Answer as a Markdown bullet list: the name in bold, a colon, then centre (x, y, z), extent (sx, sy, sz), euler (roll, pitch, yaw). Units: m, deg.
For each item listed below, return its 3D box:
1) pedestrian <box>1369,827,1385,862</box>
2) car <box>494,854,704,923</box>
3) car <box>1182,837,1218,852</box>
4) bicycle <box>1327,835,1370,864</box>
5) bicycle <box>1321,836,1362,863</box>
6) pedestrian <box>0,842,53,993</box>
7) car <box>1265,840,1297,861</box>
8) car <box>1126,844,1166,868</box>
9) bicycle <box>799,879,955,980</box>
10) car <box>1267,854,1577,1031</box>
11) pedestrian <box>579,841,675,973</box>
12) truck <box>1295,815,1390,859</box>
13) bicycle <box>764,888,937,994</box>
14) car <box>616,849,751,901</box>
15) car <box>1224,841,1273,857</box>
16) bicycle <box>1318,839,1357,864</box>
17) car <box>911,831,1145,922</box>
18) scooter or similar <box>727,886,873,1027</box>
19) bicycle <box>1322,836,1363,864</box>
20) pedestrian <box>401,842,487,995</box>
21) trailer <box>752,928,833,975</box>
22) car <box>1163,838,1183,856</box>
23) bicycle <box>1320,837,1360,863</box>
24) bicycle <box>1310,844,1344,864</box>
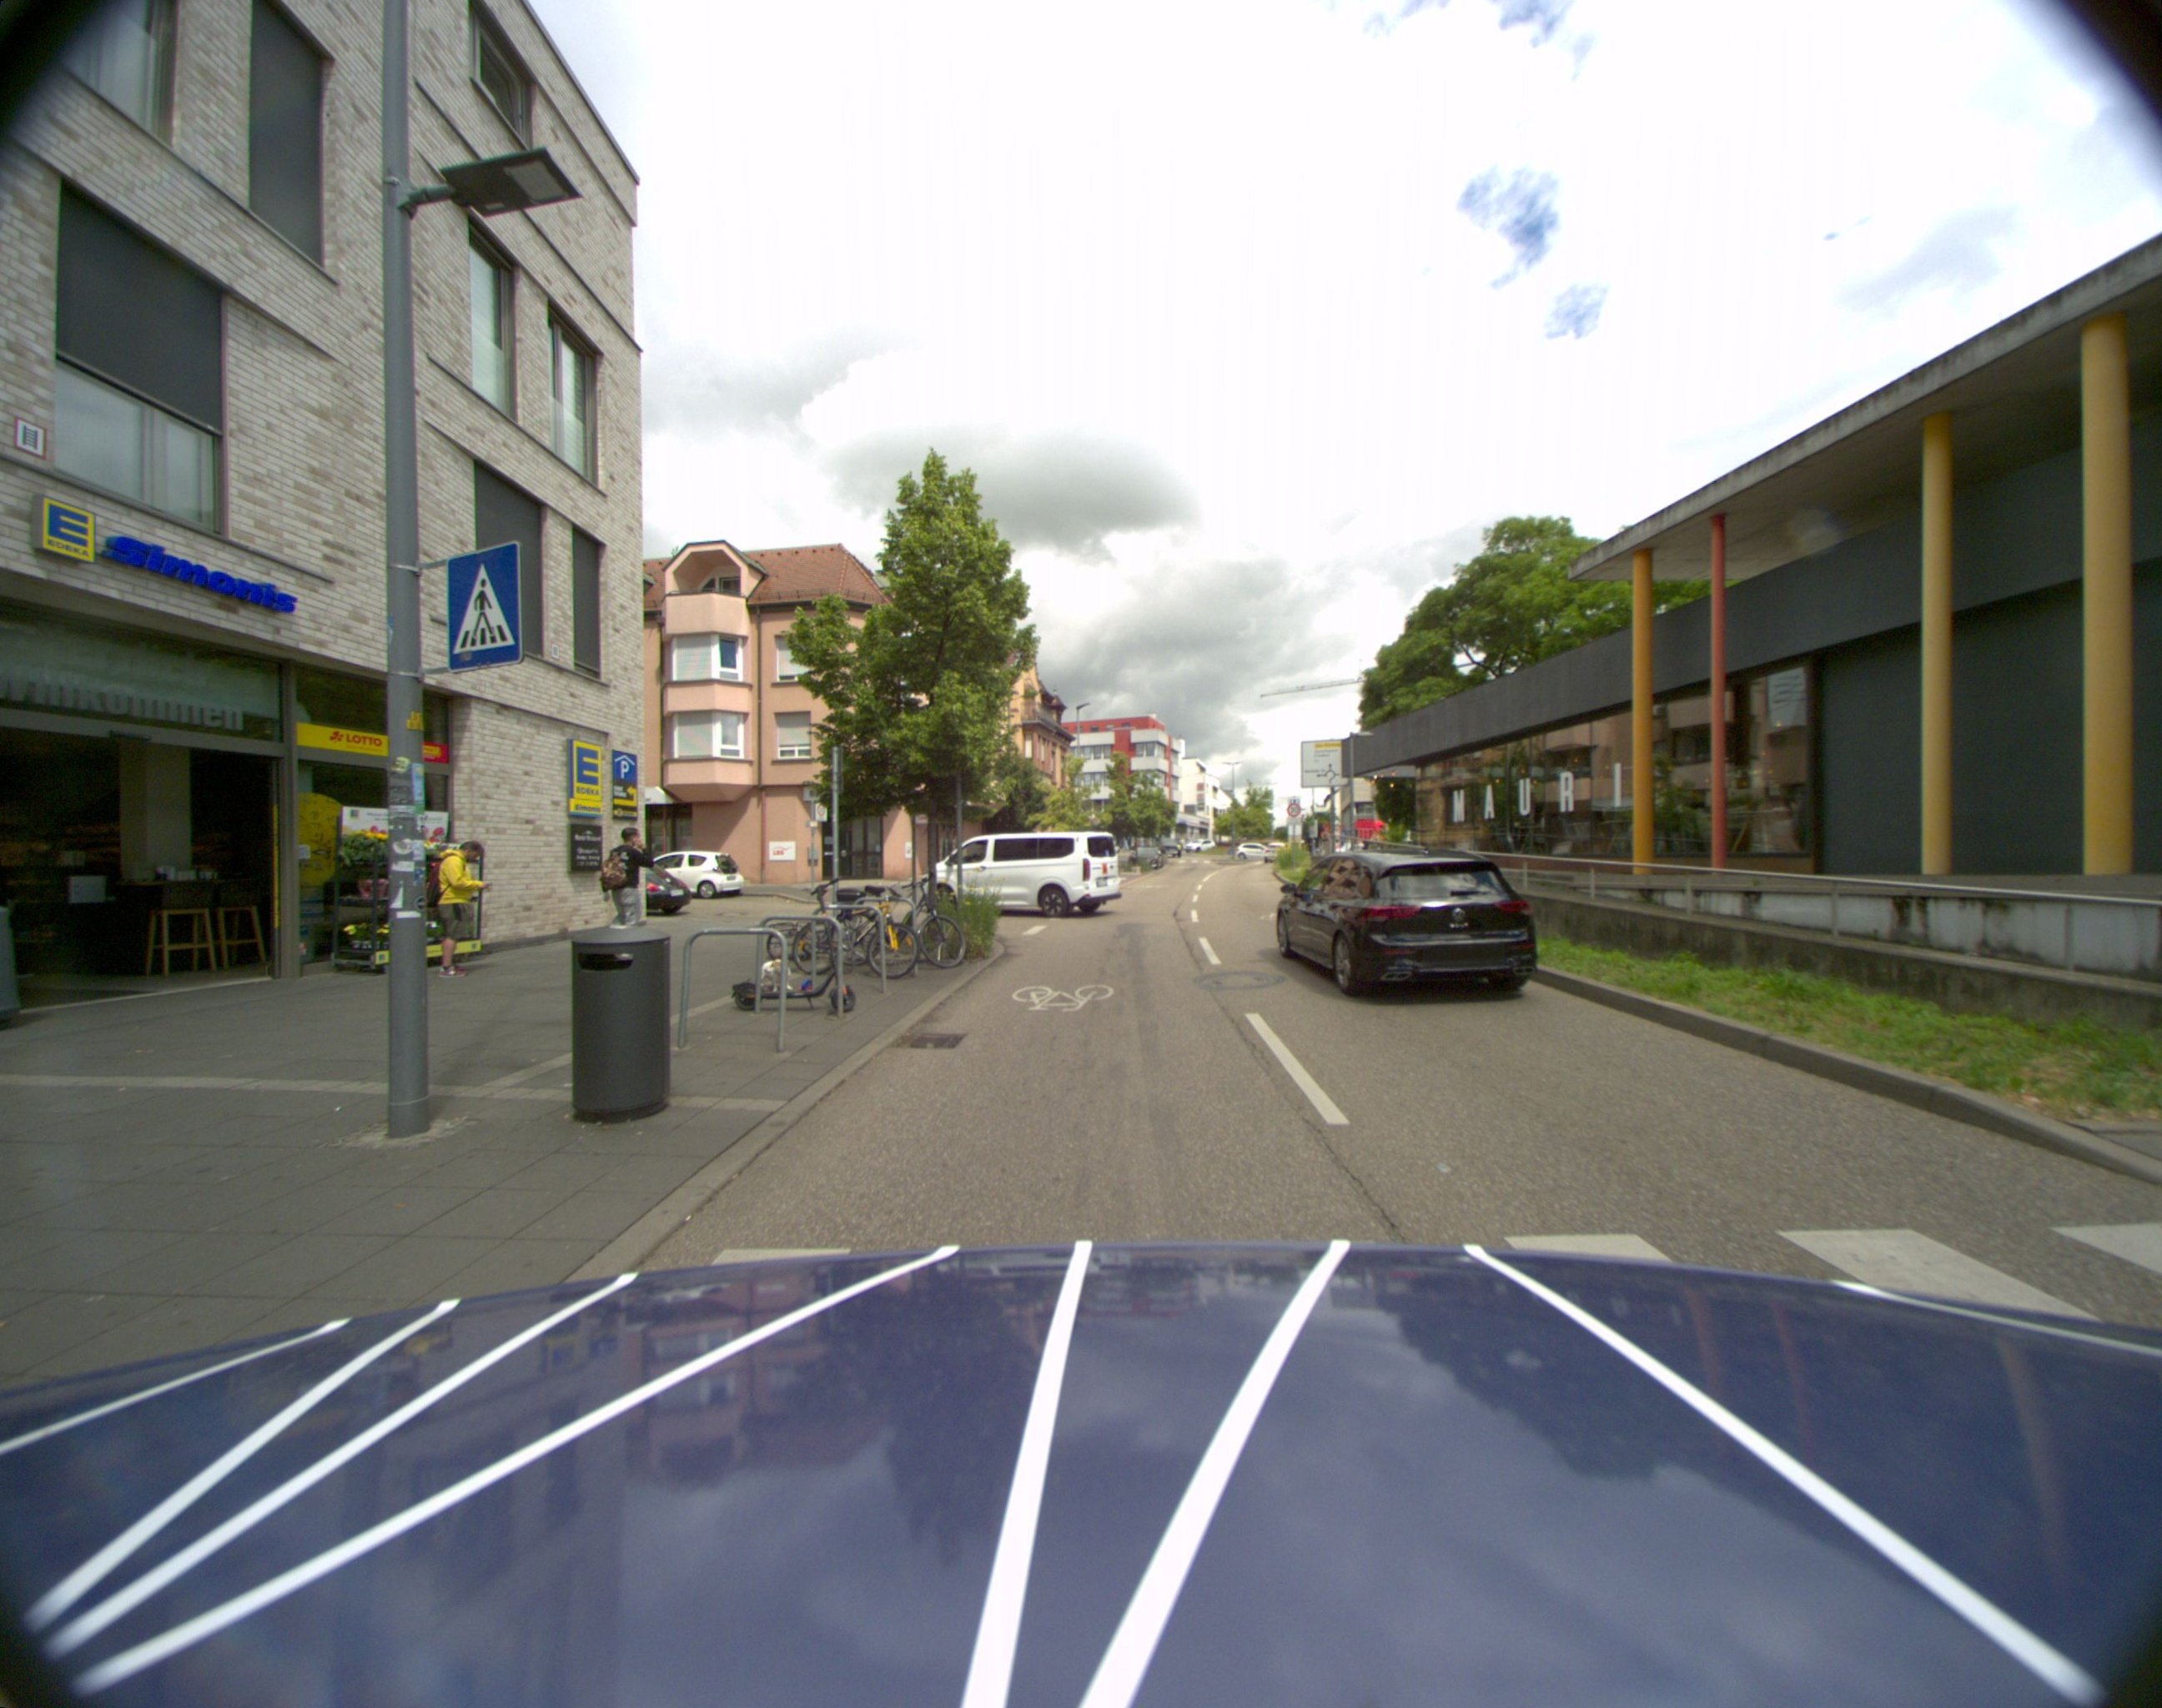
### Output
- **pedestrian**: centre (14.134, -0.437, 36.237), extent (0.660, 1.619, 0.801), euler (-1, 0, 19)
- **car**: centre (-11.384, 0.770, 18.094), extent (3.902, 1.468, 1.784), euler (1, 1, 4)
- **car**: centre (13.710, -1.115, 87.450), extent (4.007, 1.653, 1.838), euler (-3, 3, -40)
- **bicycle**: centre (10.625, -0.186, 30.265), extent (1.549, 1.121, 0.534), euler (0, 1, 12)
- **bicycle**: centre (11.057, -0.192, 32.284), extent (1.549, 1.121, 0.534), euler (0, 1, 12)
- **pedestrian**: centre (-12.650, 0.732, 8.685), extent (0.661, 1.717, 0.740), euler (-1, 2, 5)
- **car**: centre (16.107, -0.298, 61.158), extent (1.824, 1.576, 4.172), euler (2, 2, 24)
- **car**: centre (4.261, 0.110, 49.148), extent (1.996, 1.406, 4.739), euler (0, 1, 12)
- **bicycle**: centre (-2.646, 0.961, 9.967), extent (1.826, 1.194, 0.756), euler (1, 1, 5)
- **car**: centre (3.427, 0.762, 8.611), extent (1.776, 1.455, 4.235), euler (-2, 0, 3)
- **pedestrian**: centre (-6.232, 0.684, 10.480), extent (0.659, 1.731, 1.018), euler (0, 1, 4)
- **truck**: centre (25.077, -1.668, 72.483), extent (10.866, 3.821, 2.675), euler (-3, 3, -35)
- **bicycle**: centre (-2.723, 1.007, 9.082), extent (1.826, 1.125, 0.756), euler (1, 1, 5)
- **car**: centre (-12.369, 0.623, 23.749), extent (3.386, 1.468, 1.719), euler (1, 1, 10)
- **car**: centre (15.225, -0.462, 69.104), extent (4.044, 1.391, 1.819), euler (-1, 2, 22)
- **bicycle**: centre (11.379, -0.107, 33.731), extent (1.549, 1.121, 0.534), euler (0, 1, 12)
- **car**: centre (-1.346, 0.564, 18.731), extent (5.381, 2.002, 2.003), euler (-2, 1, 26)
- **scooter or similar**: centre (-2.651, 0.946, 7.212), extent (1.199, 1.242, 0.494), euler (1, 2, 5)
- **bicycle**: centre (10.816, -0.170, 31.452), extent (1.549, 1.121, 0.534), euler (0, 1, 12)
- **pedestrian**: centre (-7.397, 0.708, 8.825), extent (0.658, 1.682, 0.633), euler (1, 1, 39)
- **trailer**: centre (-3.906, 1.313, 10.336), extent (0.721, 0.525, 0.812), euler (-1, 1, 8)
- **car**: centre (8.974, -0.705, 73.626), extent (1.802, 1.571, 4.001), euler (-1, 2, 8)
- **bicycle**: centre (11.215, -0.164, 32.933), extent (1.549, 1.121, 0.534), euler (0, 1, 12)
- **bicycle**: centre (13.105, 0.015, 40.507), extent (1.689, 1.075, 0.515), euler (0, 0, 8)
